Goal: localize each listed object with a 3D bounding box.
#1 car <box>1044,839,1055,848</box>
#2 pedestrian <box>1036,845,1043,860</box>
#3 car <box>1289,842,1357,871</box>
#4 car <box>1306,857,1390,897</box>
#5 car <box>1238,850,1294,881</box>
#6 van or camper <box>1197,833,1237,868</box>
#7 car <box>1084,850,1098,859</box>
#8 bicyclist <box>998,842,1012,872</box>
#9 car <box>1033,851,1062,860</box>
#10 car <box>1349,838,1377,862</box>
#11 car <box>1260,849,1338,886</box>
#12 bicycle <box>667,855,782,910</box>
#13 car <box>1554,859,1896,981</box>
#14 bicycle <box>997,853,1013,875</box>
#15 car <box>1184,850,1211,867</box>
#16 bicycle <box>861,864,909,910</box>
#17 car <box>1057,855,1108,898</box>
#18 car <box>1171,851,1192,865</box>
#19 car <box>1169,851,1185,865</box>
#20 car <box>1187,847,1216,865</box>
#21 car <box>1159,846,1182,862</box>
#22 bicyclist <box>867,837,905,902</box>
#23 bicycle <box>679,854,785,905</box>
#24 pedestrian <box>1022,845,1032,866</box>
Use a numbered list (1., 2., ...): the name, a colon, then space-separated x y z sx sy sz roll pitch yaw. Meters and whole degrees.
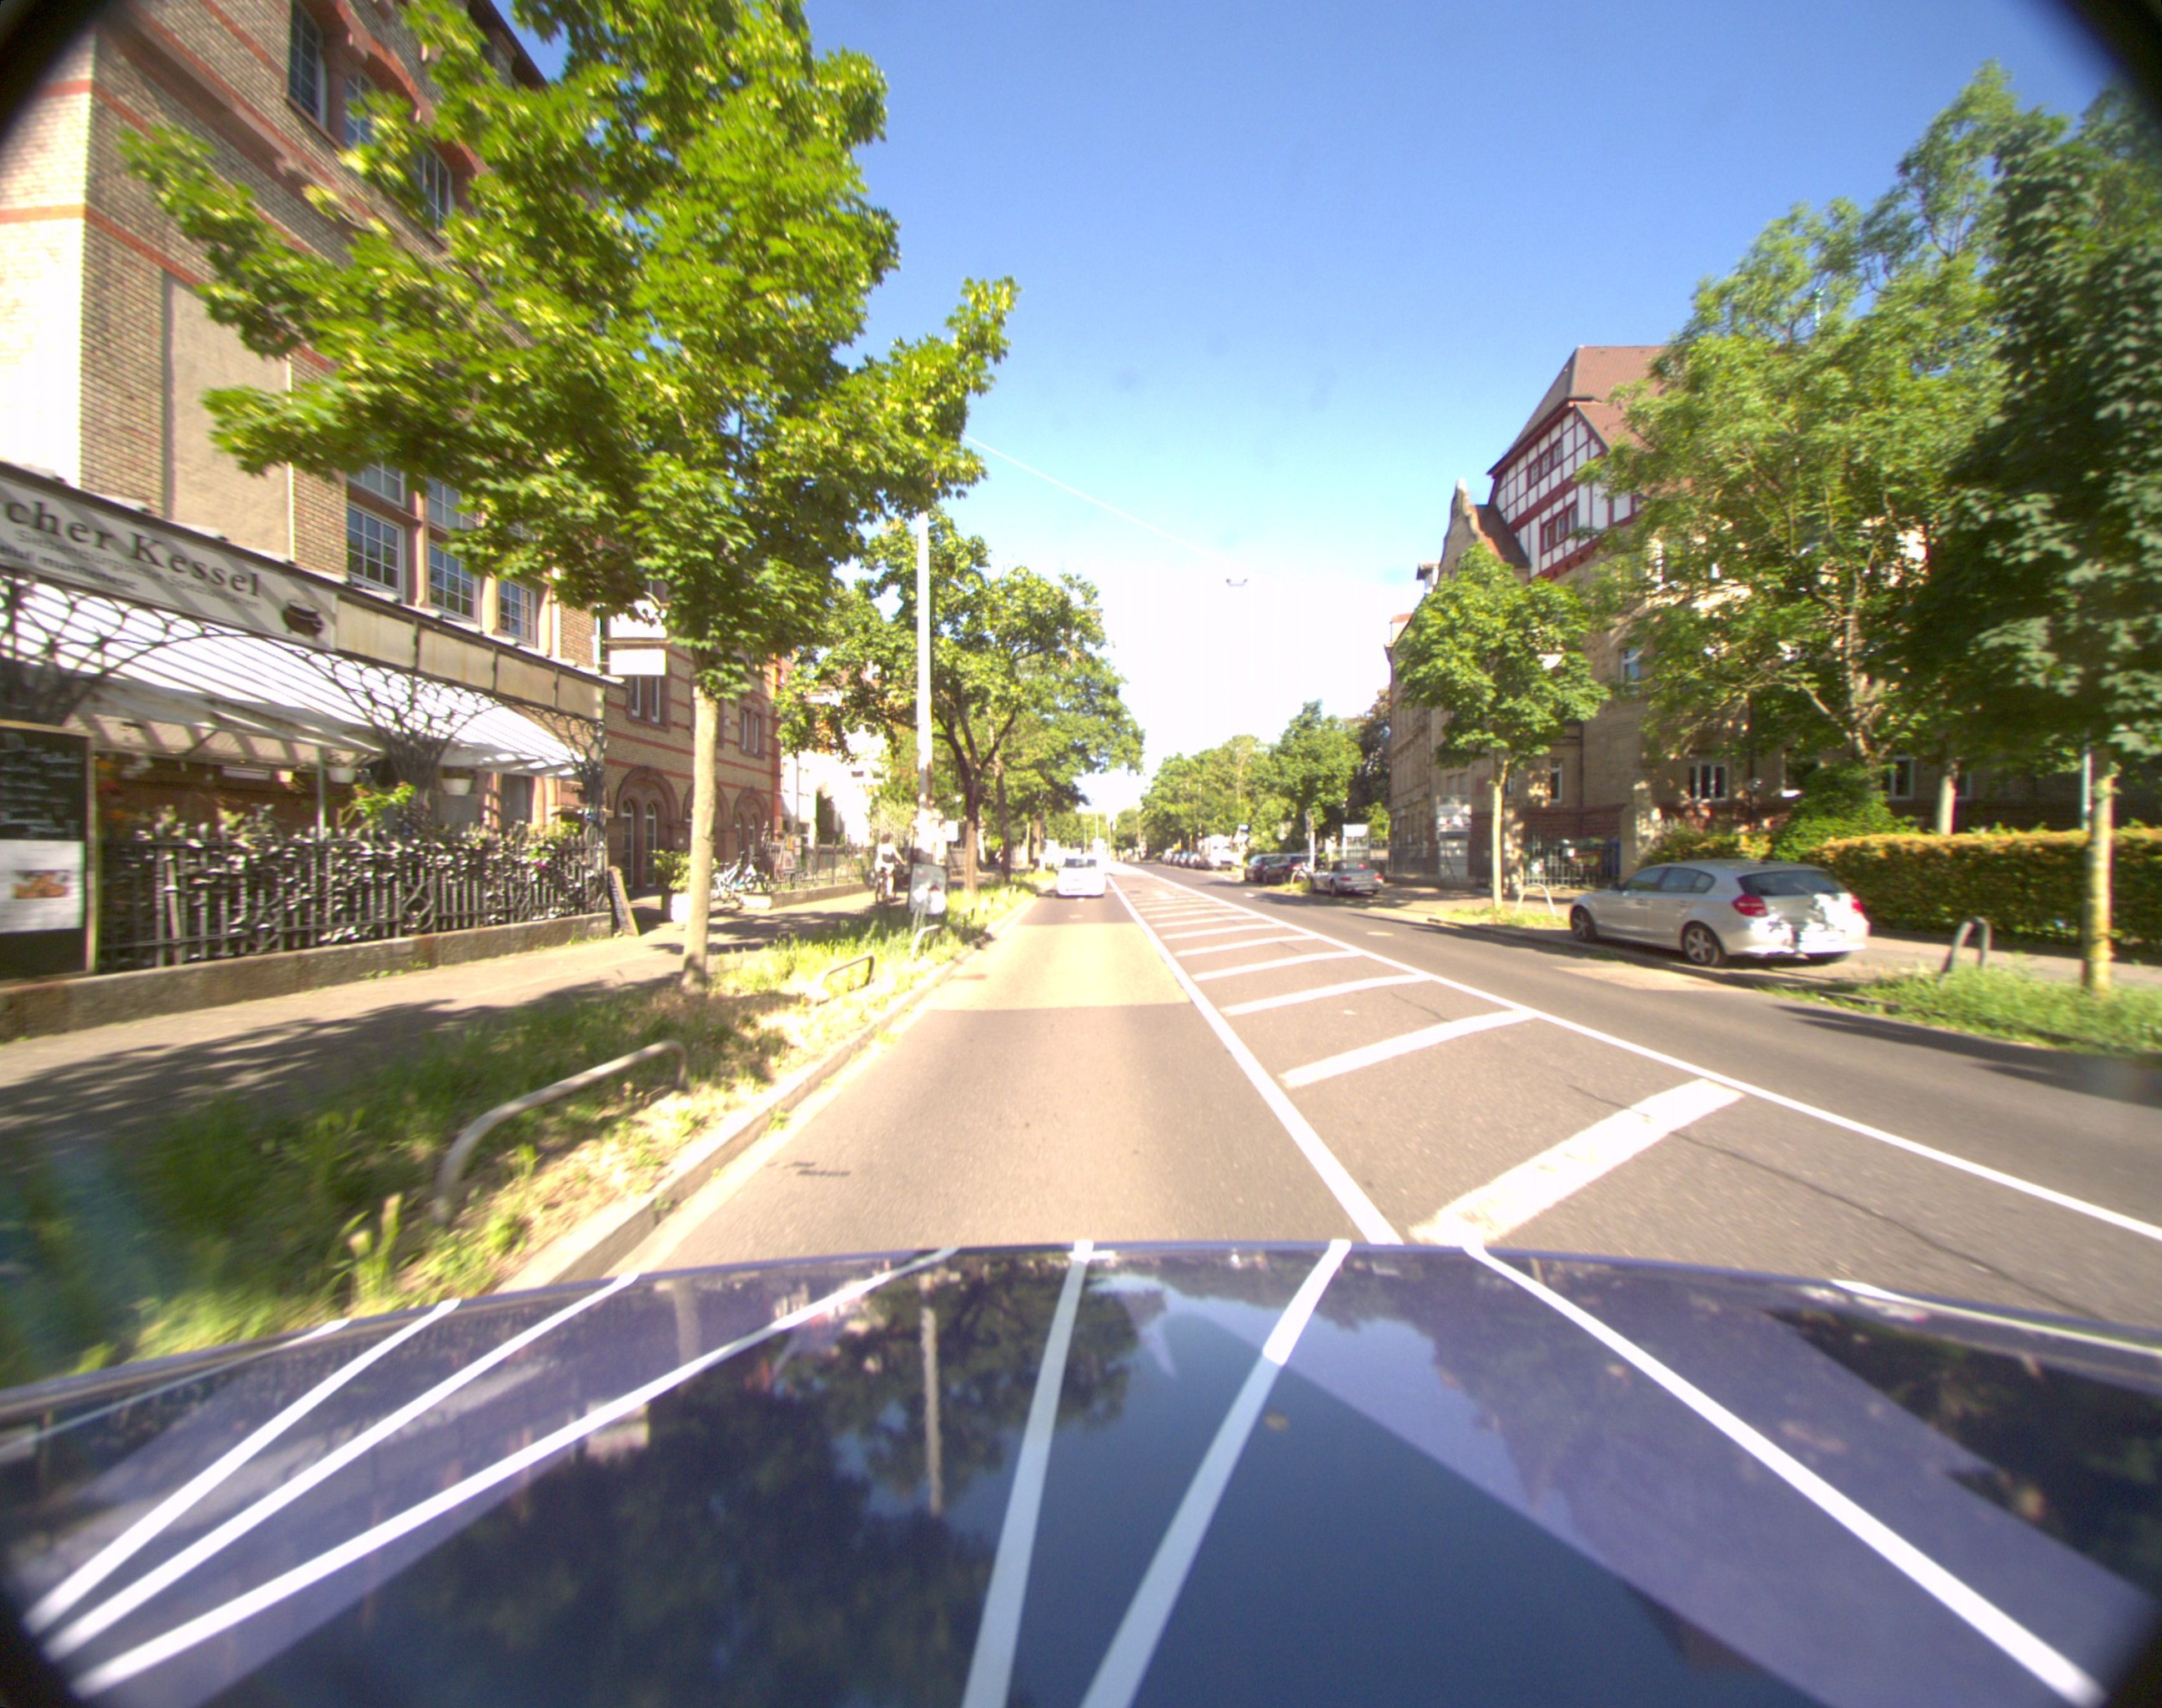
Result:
1. car: -5.447 -1.816 130.642 1.847 1.432 4.104 3 0 -3
2. pedestrian: -4.733 -0.122 86.099 0.696 1.649 0.820 3 1 0
3. car: 15.982 0.168 50.147 4.150 1.660 1.996 -3 0 -32
4. car: 9.482 0.774 27.308 1.682 1.248 4.014 -1 0 1
5. car: 9.841 0.565 40.775 1.860 1.419 4.720 -4 0 1
6. van or camper: 10.944 -0.299 61.721 2.222 2.723 6.088 0 0 0
7. car: 1.528 -0.006 121.664 1.924 1.411 4.223 0 0 -4
8. bicyclist: -4.377 0.174 43.875 0.647 1.685 0.889 3 0 1
9. car: -5.312 0.218 119.960 4.417 1.409 2.047 1 0 2
10. car: 24.287 -0.383 65.424 1.860 1.903 4.458 2 2 25
11. car: 9.854 0.578 34.804 1.861 1.485 4.703 -3 1 -4
12. bicycle: -7.960 0.632 17.042 2.202 1.172 0.687 0 2 -5
13. car: 9.166 0.826 11.380 1.692 1.375 4.191 -2 0 3
14. bicycle: -4.402 0.570 43.909 0.654 1.169 1.843 3 0 1
15. car: 10.577 0.372 69.331 1.785 1.405 4.405 2 0 0
16. bicycle: -4.896 0.793 19.113 0.687 1.022 2.095 0 1 0
17. car: 0.122 0.766 27.568 1.652 1.449 3.897 0 0 3
18. car: 11.316 0.470 85.659 1.594 1.474 4.270 1 1 -3
19. car: 11.301 0.421 89.638 1.467 1.493 3.958 1 1 1
20. car: 10.585 0.164 67.160 1.698 1.448 4.662 2 0 -1
21. car: 11.019 -0.025 94.189 1.989 2.024 4.873 0 0 -3
22. bicyclist: -4.897 0.371 19.162 0.702 1.590 0.955 0 2 0
23. bicycle: -8.349 0.597 18.251 2.202 1.172 0.687 0 2 -5
24. pedestrian: -4.867 0.135 68.092 0.749 1.777 0.811 3 1 1
